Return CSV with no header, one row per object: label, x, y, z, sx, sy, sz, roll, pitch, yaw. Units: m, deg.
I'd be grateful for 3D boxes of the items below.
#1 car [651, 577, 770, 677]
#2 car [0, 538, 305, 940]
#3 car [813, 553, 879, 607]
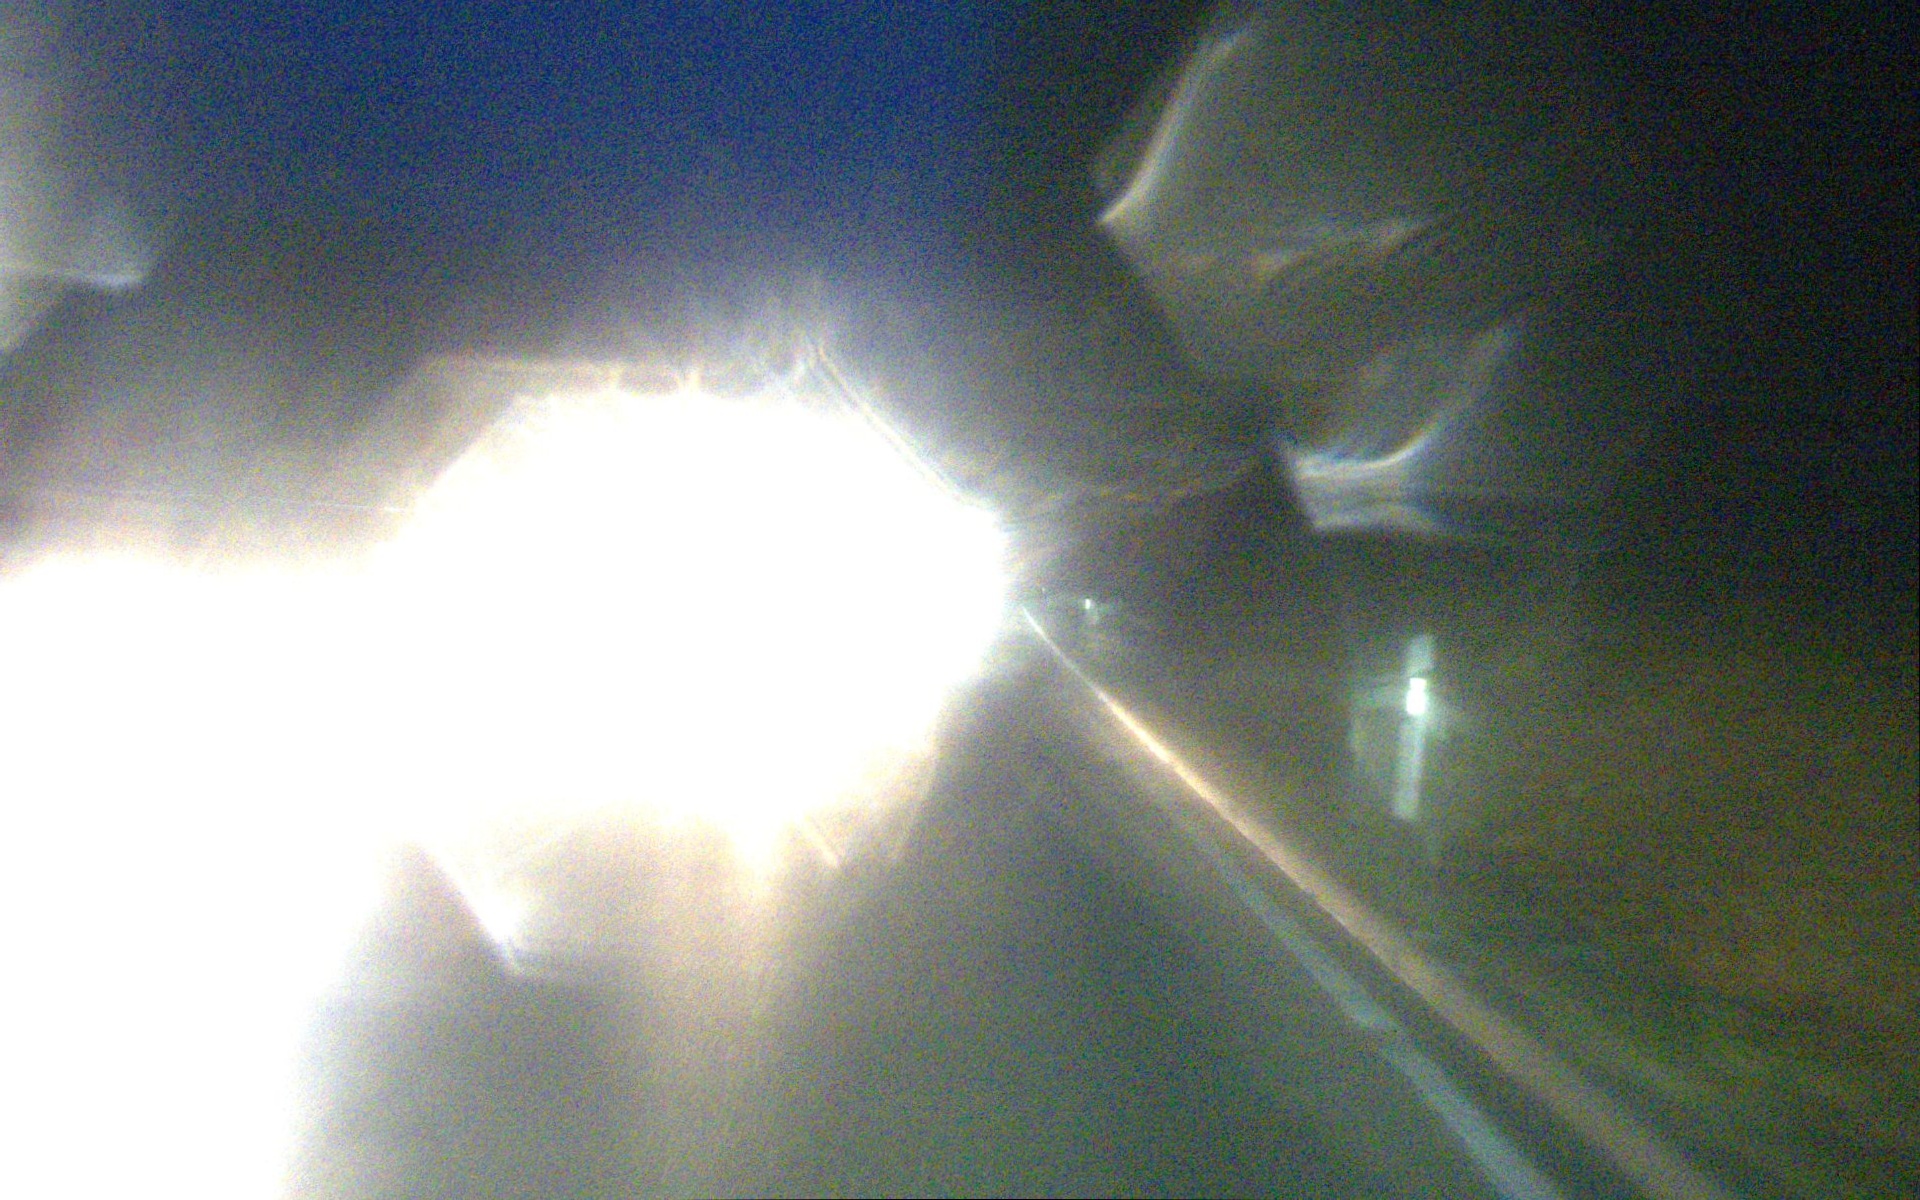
car,-4.030,0.411,55.909,1.716,1.466,3.708,-1,1,-1
car,-4.099,0.526,15.138,1.716,1.512,3.878,-2,1,-1
car,-3.377,-0.608,102.448,1.828,1.451,3.793,-2,2,0
